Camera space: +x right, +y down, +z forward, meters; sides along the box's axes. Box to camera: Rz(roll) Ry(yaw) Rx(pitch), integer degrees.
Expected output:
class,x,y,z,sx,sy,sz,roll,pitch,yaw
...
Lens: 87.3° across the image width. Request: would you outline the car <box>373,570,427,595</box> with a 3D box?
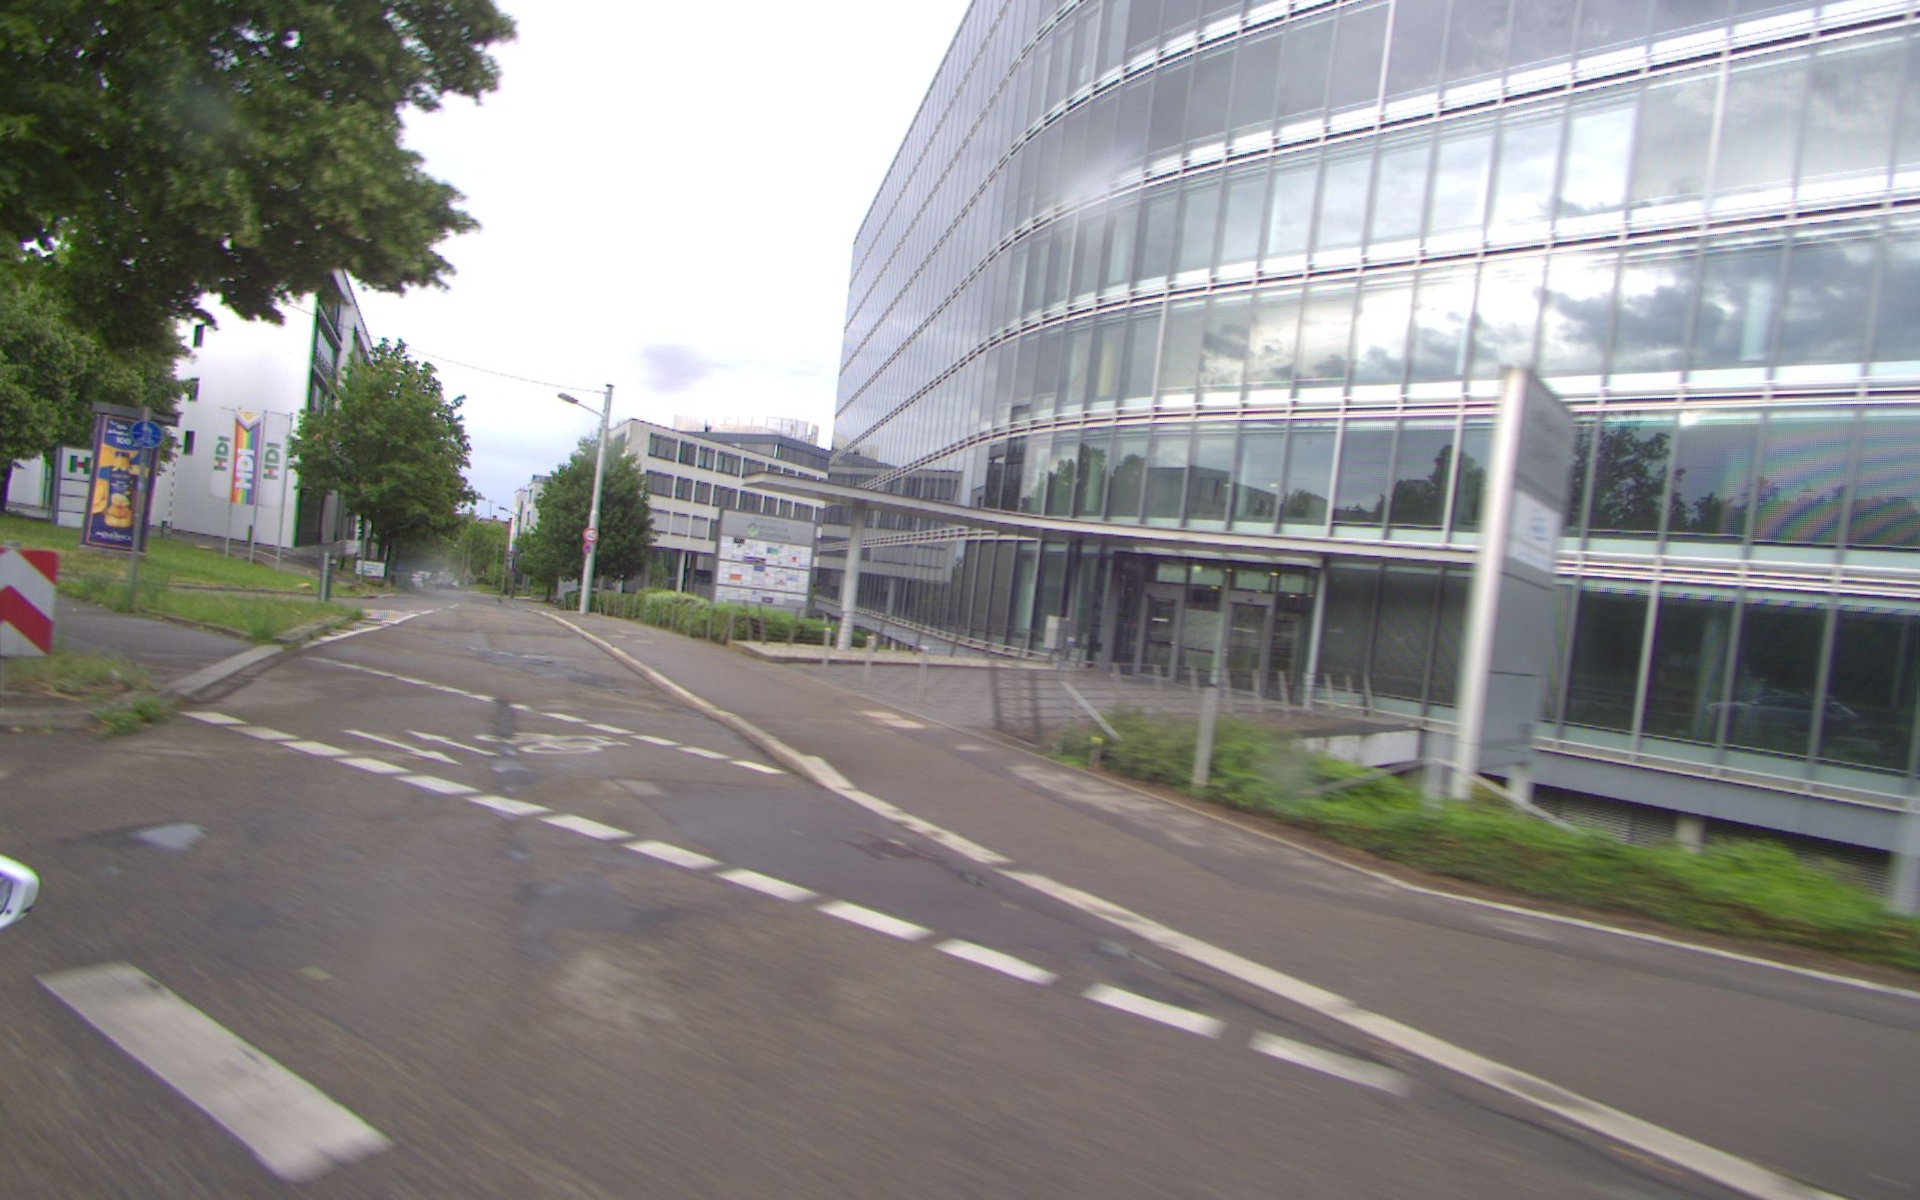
class,x,y,z,sx,sy,sz,roll,pitch,yaw
car,-51.020,-1.632,91.705,3.964,1.738,1.981,7,-1,-36
